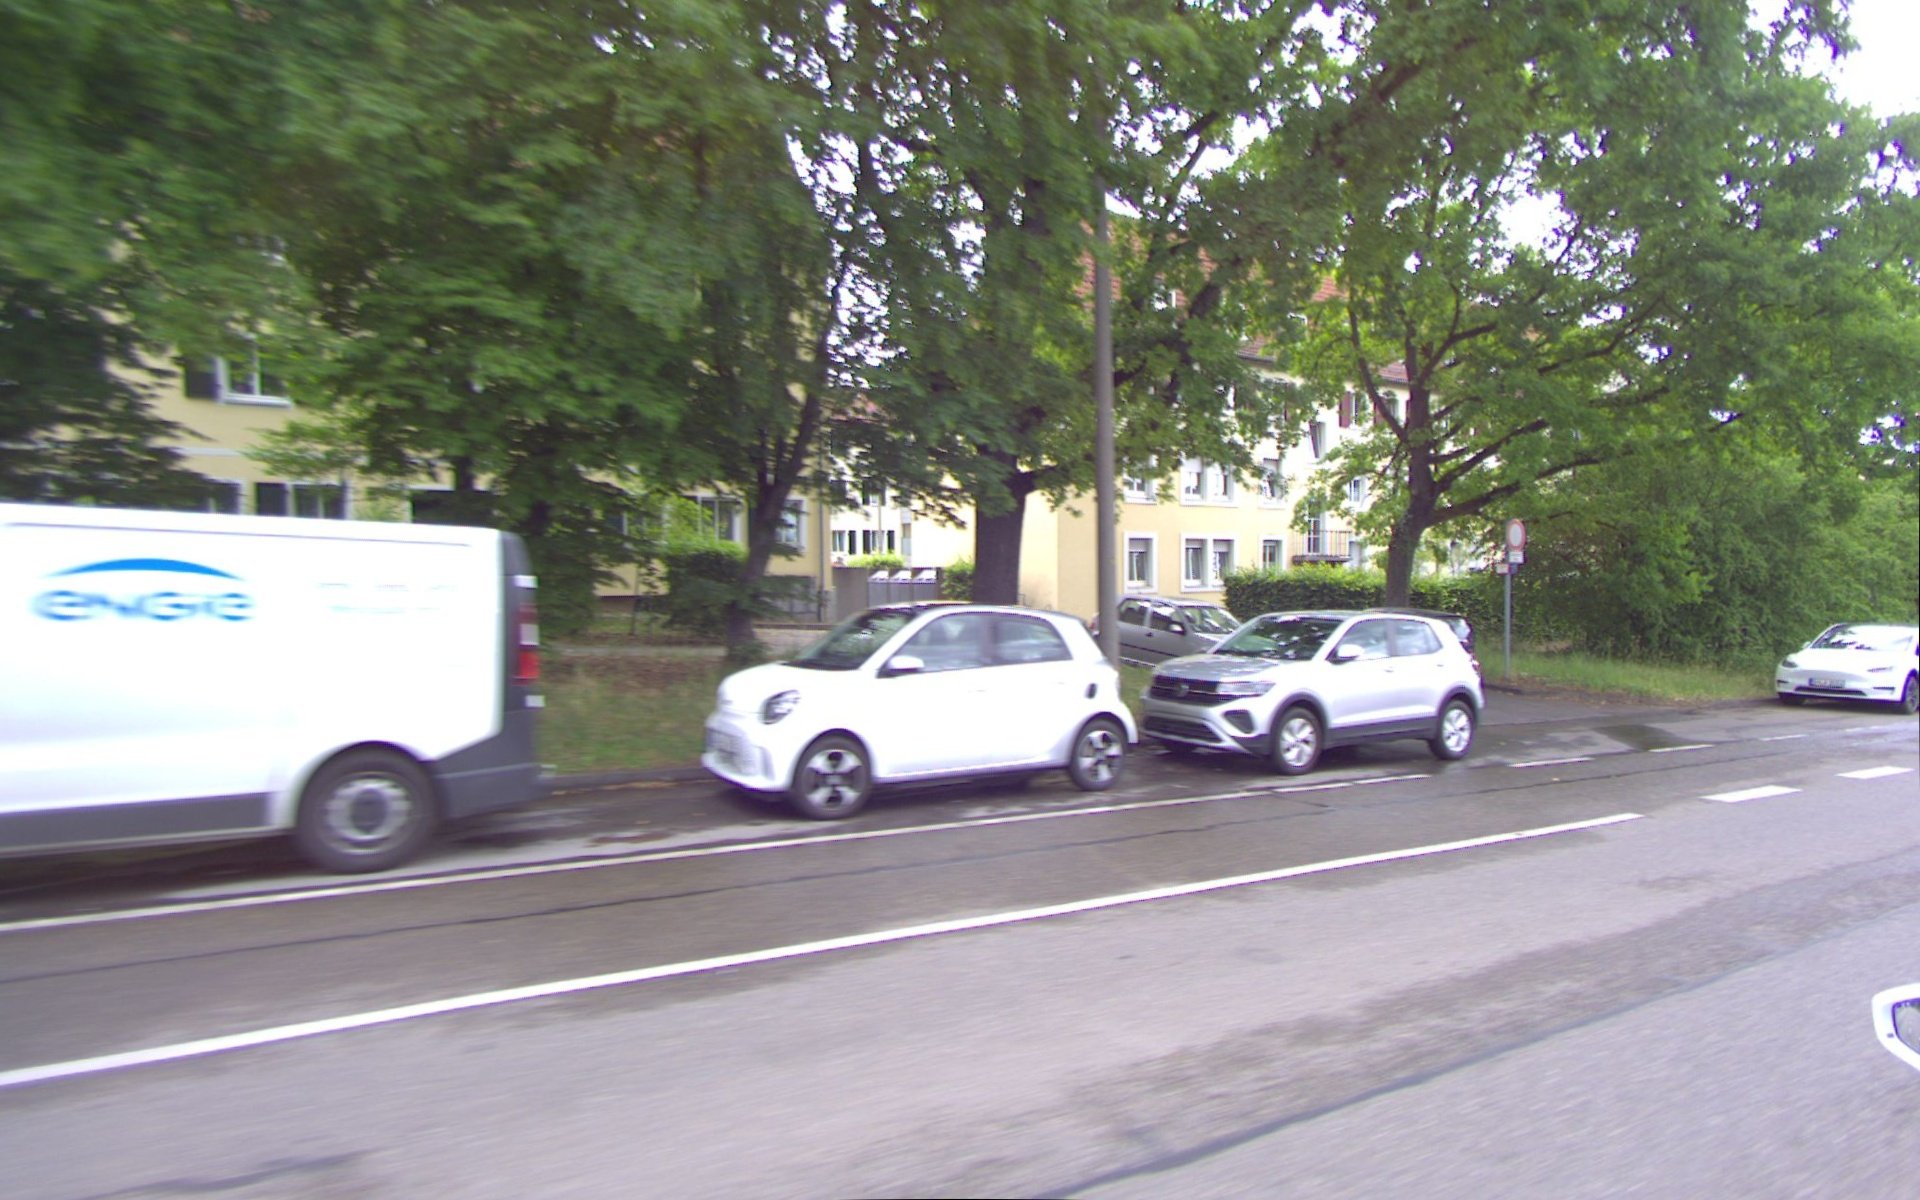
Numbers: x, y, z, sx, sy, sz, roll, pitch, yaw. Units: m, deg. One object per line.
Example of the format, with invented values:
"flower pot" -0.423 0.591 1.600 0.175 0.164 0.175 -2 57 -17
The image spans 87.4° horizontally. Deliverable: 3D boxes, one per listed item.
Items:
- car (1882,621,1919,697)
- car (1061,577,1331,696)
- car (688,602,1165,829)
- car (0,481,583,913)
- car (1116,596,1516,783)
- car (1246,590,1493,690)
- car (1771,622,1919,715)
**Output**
"car" 22.320 1.335 22.322 4.079 1.594 1.856 2 0 -35
"car" 3.892 0.529 17.326 1.849 1.470 4.404 1 4 -33
"car" -0.208 0.813 8.357 3.678 1.501 1.573 1 0 -32
"car" -4.873 0.444 5.438 5.066 1.990 1.857 1 0 -30
"car" 3.843 0.832 10.692 4.108 1.655 1.758 1 0 -30
"car" 8.086 0.723 20.301 1.863 1.474 4.414 2 4 -27
"car" 17.834 1.274 19.497 4.705 1.594 1.758 2 -1 -31
